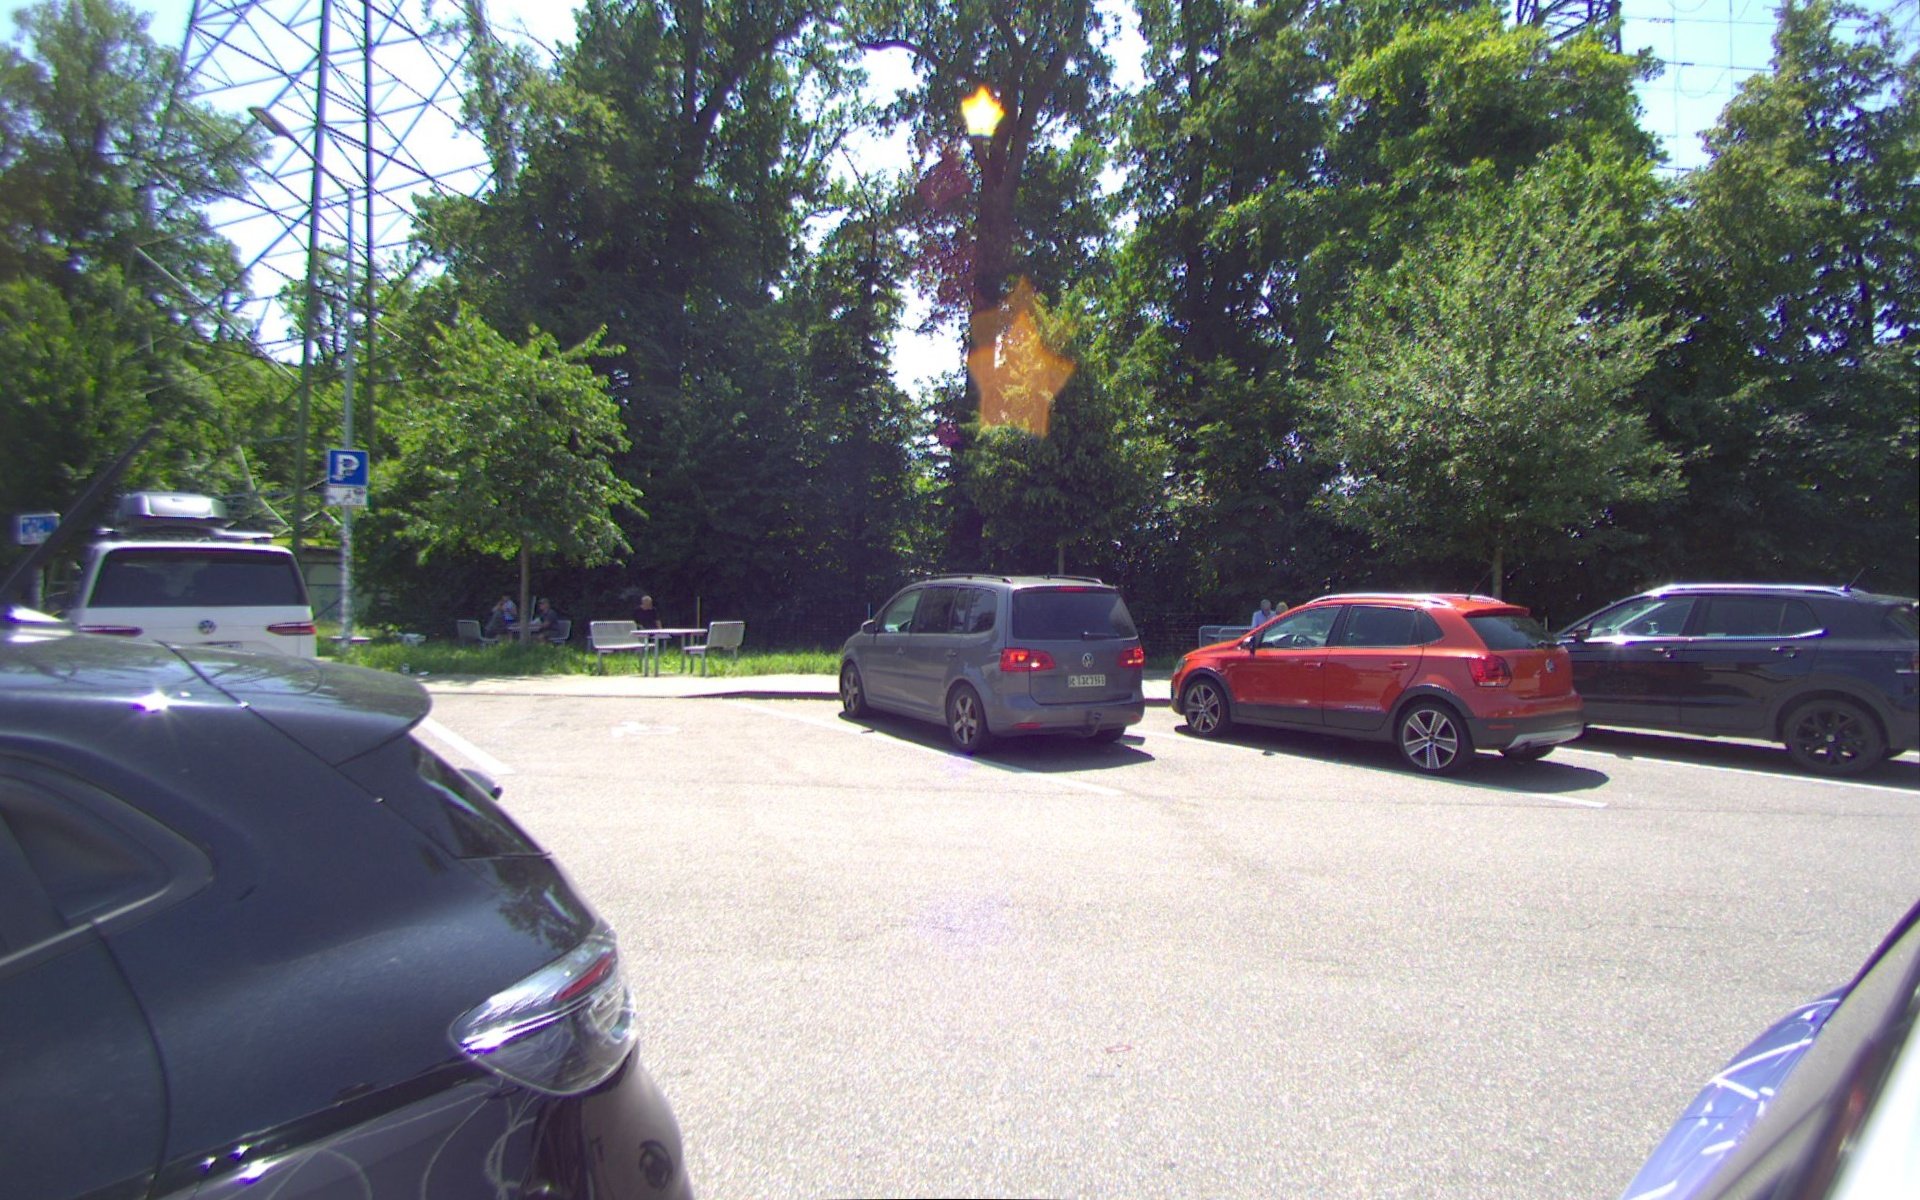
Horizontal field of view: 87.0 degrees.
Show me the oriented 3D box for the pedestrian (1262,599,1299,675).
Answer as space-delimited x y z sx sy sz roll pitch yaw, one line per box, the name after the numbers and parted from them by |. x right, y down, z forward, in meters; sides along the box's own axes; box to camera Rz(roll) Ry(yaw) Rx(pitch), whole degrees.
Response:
5.660 0.643 17.887 0.495 1.316 0.491 1 -1 0 | pedestrian

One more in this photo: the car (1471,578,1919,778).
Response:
7.213 0.580 9.666 1.727 1.566 3.806 0 1 -39 | car

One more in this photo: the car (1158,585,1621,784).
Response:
3.835 0.608 9.642 1.604 1.476 3.810 0 1 -34 | car

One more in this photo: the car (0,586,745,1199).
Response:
-2.151 0.719 0.576 1.615 1.503 3.706 0 -1 44 | car

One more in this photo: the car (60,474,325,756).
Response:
-8.092 0.089 10.614 1.885 2.353 4.089 0 1 -40 | car

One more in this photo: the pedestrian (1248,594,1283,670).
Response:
5.741 0.593 19.011 0.495 1.393 0.491 1 -1 0 | pedestrian

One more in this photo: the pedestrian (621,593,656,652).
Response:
-6.773 0.464 21.325 0.550 1.229 0.599 1 -1 -1 | pedestrian

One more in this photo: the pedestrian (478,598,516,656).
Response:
-10.463 0.597 22.867 0.630 1.287 0.579 1 -1 -39 | pedestrian

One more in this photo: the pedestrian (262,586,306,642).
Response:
-17.235 0.352 25.806 0.598 1.391 0.706 1 -1 14 | pedestrian

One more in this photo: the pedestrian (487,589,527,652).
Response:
-10.975 0.490 24.501 0.722 1.478 0.669 1 -1 -39 | pedestrian

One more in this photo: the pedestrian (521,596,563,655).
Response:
-9.743 0.582 23.565 0.722 1.343 0.669 1 -1 -39 | pedestrian

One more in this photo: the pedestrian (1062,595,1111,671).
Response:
2.102 0.555 16.850 0.660 1.235 0.682 1 -2 -5 | pedestrian

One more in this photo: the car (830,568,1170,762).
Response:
0.198 0.503 10.544 1.717 1.611 3.961 0 1 -30 | car
